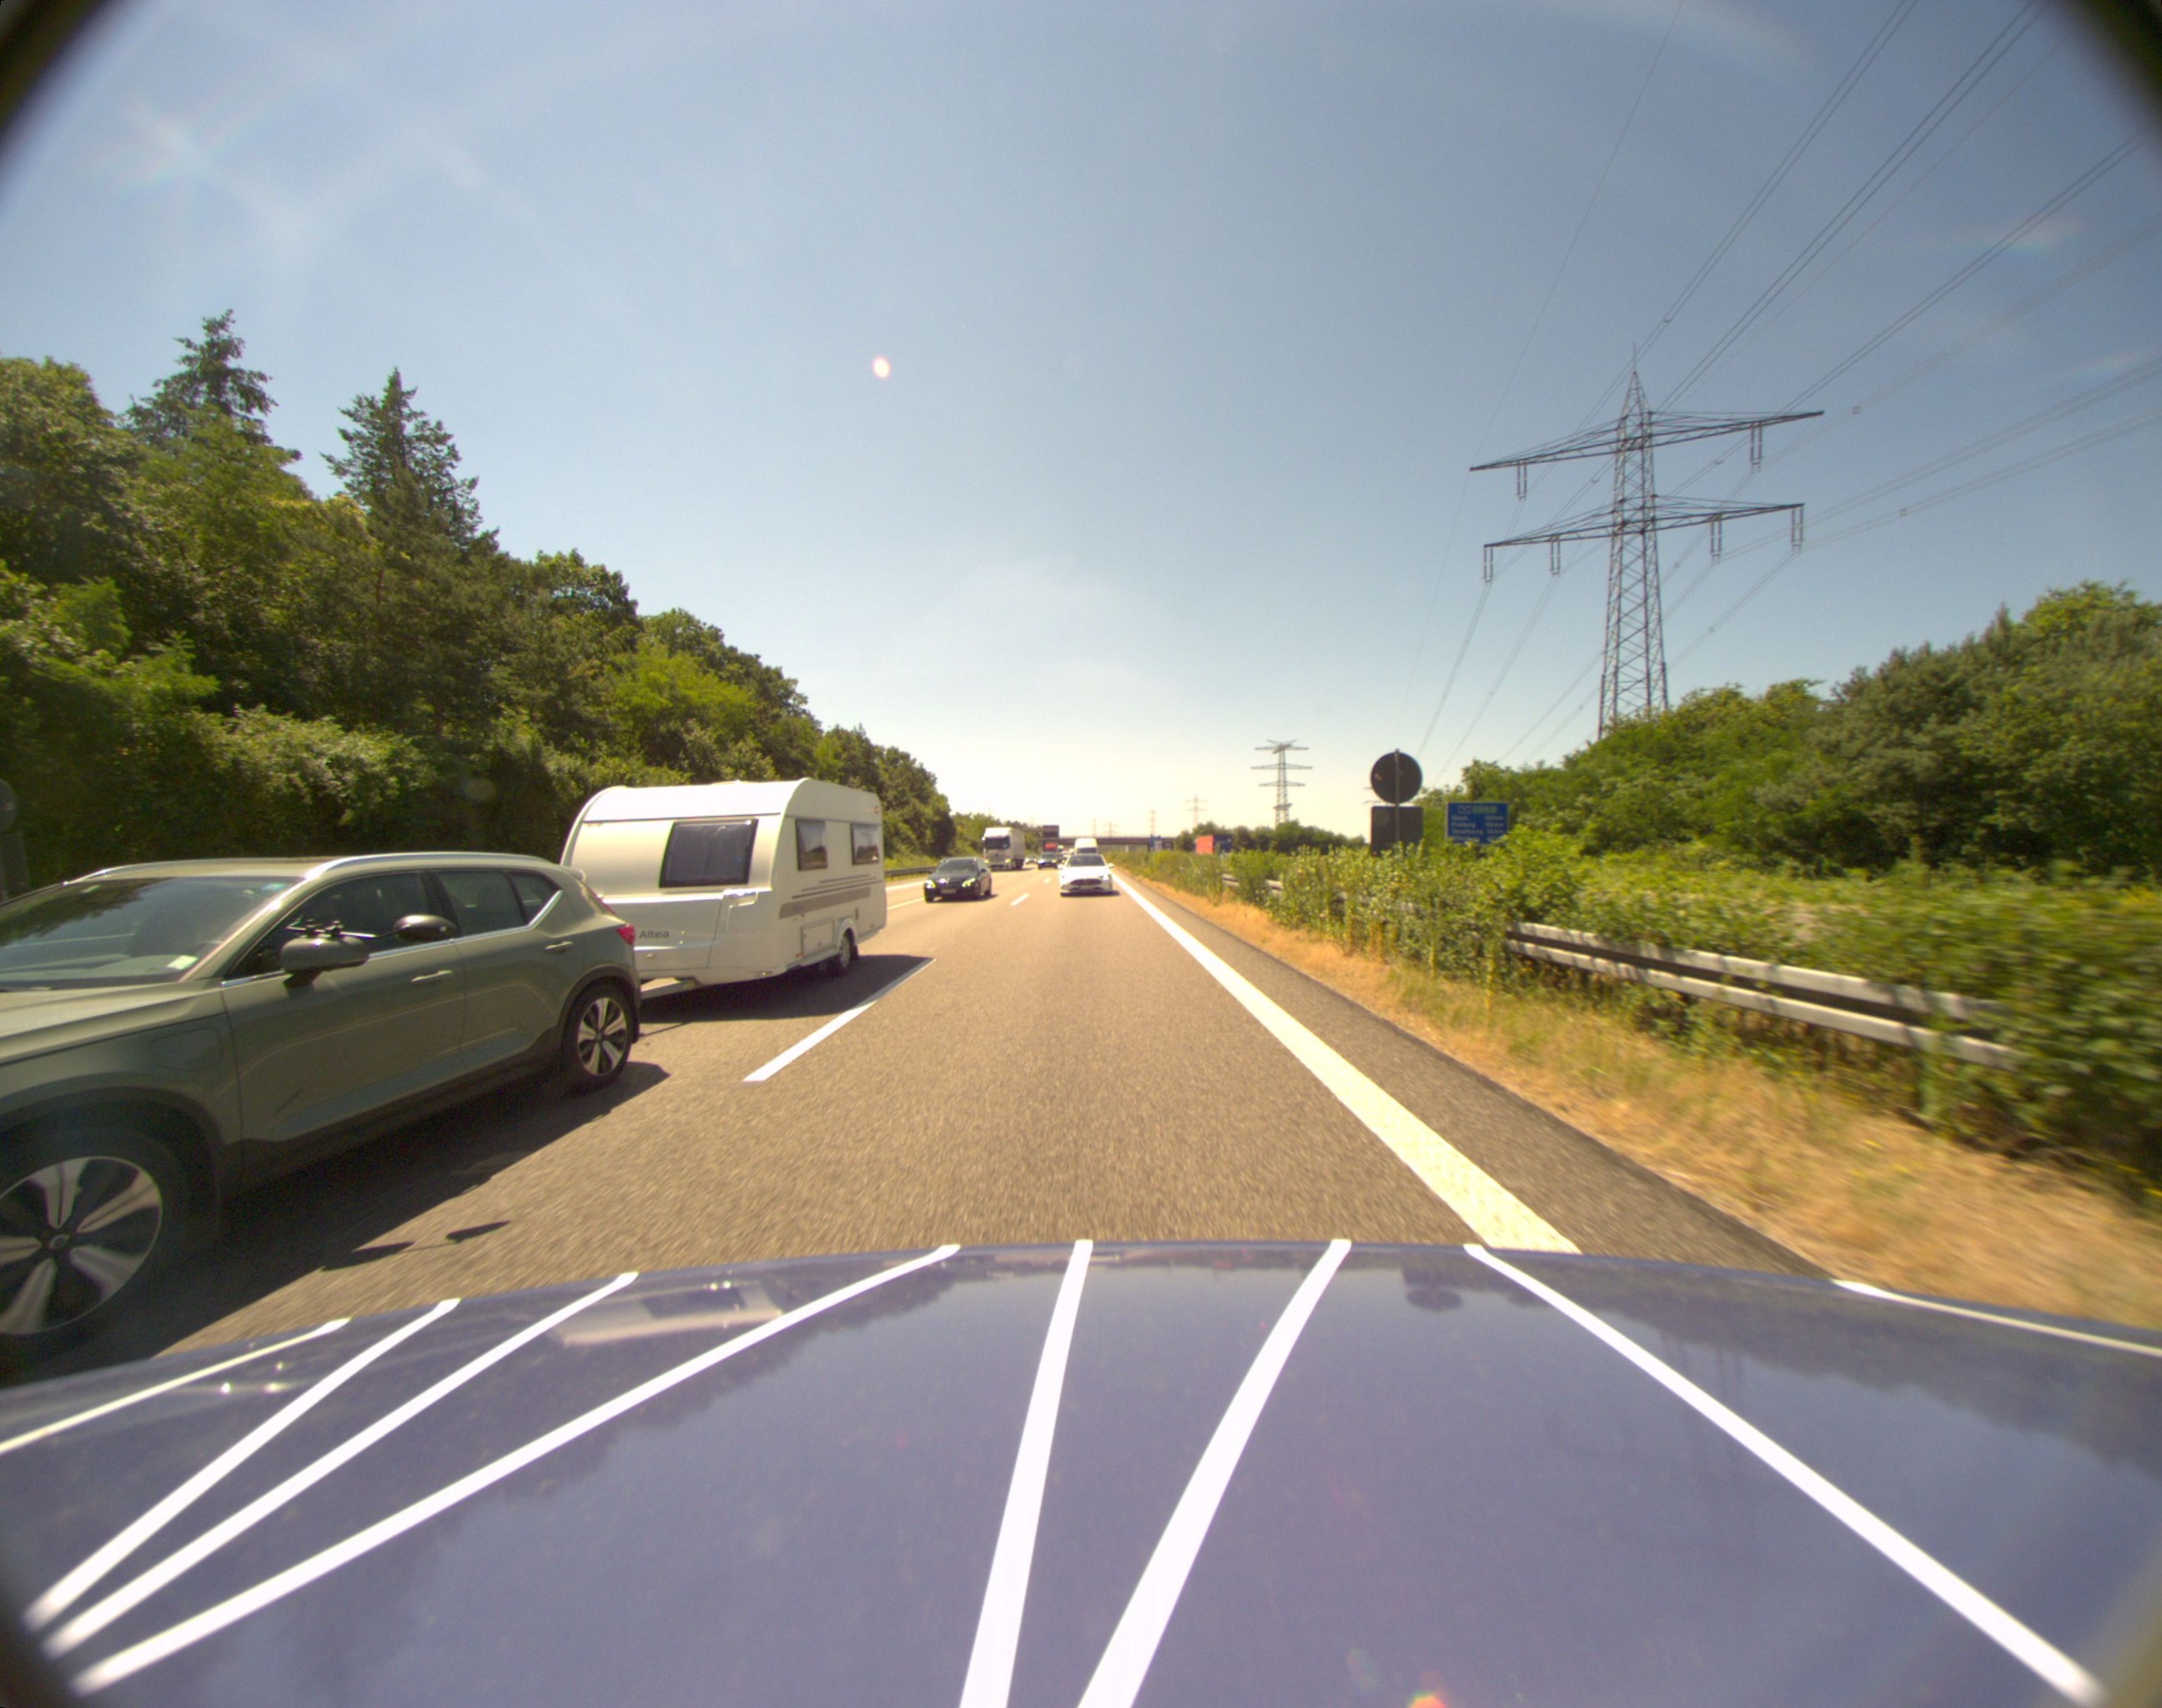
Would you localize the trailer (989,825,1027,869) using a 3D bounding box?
[{"bbox_3d":[-7.390,-0.720,78.970,2.736,4.079,13.187,-1,0,-1],"label":"trailer"}]

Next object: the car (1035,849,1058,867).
[{"bbox_3d":[-3.360,0.366,74.743,1.984,1.671,4.558,-2,0,-1],"label":"car"}]

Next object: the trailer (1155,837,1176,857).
[{"bbox_3d":[18.993,-1.528,172.019,3.095,4.382,14.230,1,0,0],"label":"trailer"}]

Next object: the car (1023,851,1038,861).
[{"bbox_3d":[-7.510,0.259,113.316,1.840,1.403,4.558,-2,0,-1],"label":"car"}]

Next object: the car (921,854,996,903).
[{"bbox_3d":[-4.268,0.810,27.213,1.846,1.497,4.737,-1,1,1],"label":"car"}]

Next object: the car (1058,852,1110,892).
[{"bbox_3d":[0.077,0.674,31.125,1.984,1.525,4.558,0,0,-1],"label":"car"}]

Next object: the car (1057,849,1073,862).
[{"bbox_3d":[-2.096,0.185,99.716,1.984,1.671,4.557,0,1,-1],"label":"car"}]

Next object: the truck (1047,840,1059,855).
[{"bbox_3d":[-6.556,-1.561,180.364,2.582,3.204,5.712,-3,1,-1],"label":"truck"}]

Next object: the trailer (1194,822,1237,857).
[{"bbox_3d":[18.544,-1.914,105.650,3.352,4.382,14.164,3,0,1],"label":"trailer"}]

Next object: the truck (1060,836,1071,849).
[{"bbox_3d":[-5.153,-3.798,250.131,3.507,3.891,9.645,-1,1,-2],"label":"truck"}]

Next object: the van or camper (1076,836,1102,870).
[{"bbox_3d":[0.725,-0.134,65.441,1.998,2.740,5.410,-2,0,1],"label":"van or camper"}]

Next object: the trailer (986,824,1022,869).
[{"bbox_3d":[-7.312,-0.712,72.569,2.720,4.079,6.788,-1,1,-1],"label":"trailer"}]

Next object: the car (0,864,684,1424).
[{"bbox_3d":[-4.230,0.944,3.808,1.884,1.603,4.701,-2,1,1],"label":"car"}]

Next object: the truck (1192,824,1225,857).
[{"bbox_3d":[18.596,-1.948,111.654,3.352,4.382,7.971,3,0,1],"label":"truck"}]

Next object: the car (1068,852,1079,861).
[{"bbox_3d":[-1.489,0.502,141.134,1.984,1.525,4.137,-1,0,-1],"label":"car"}]

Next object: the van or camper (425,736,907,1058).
[{"bbox_3d":[-4.197,0.358,9.539,2.445,2.659,6.349,-1,0,1],"label":"van or camper"}]
